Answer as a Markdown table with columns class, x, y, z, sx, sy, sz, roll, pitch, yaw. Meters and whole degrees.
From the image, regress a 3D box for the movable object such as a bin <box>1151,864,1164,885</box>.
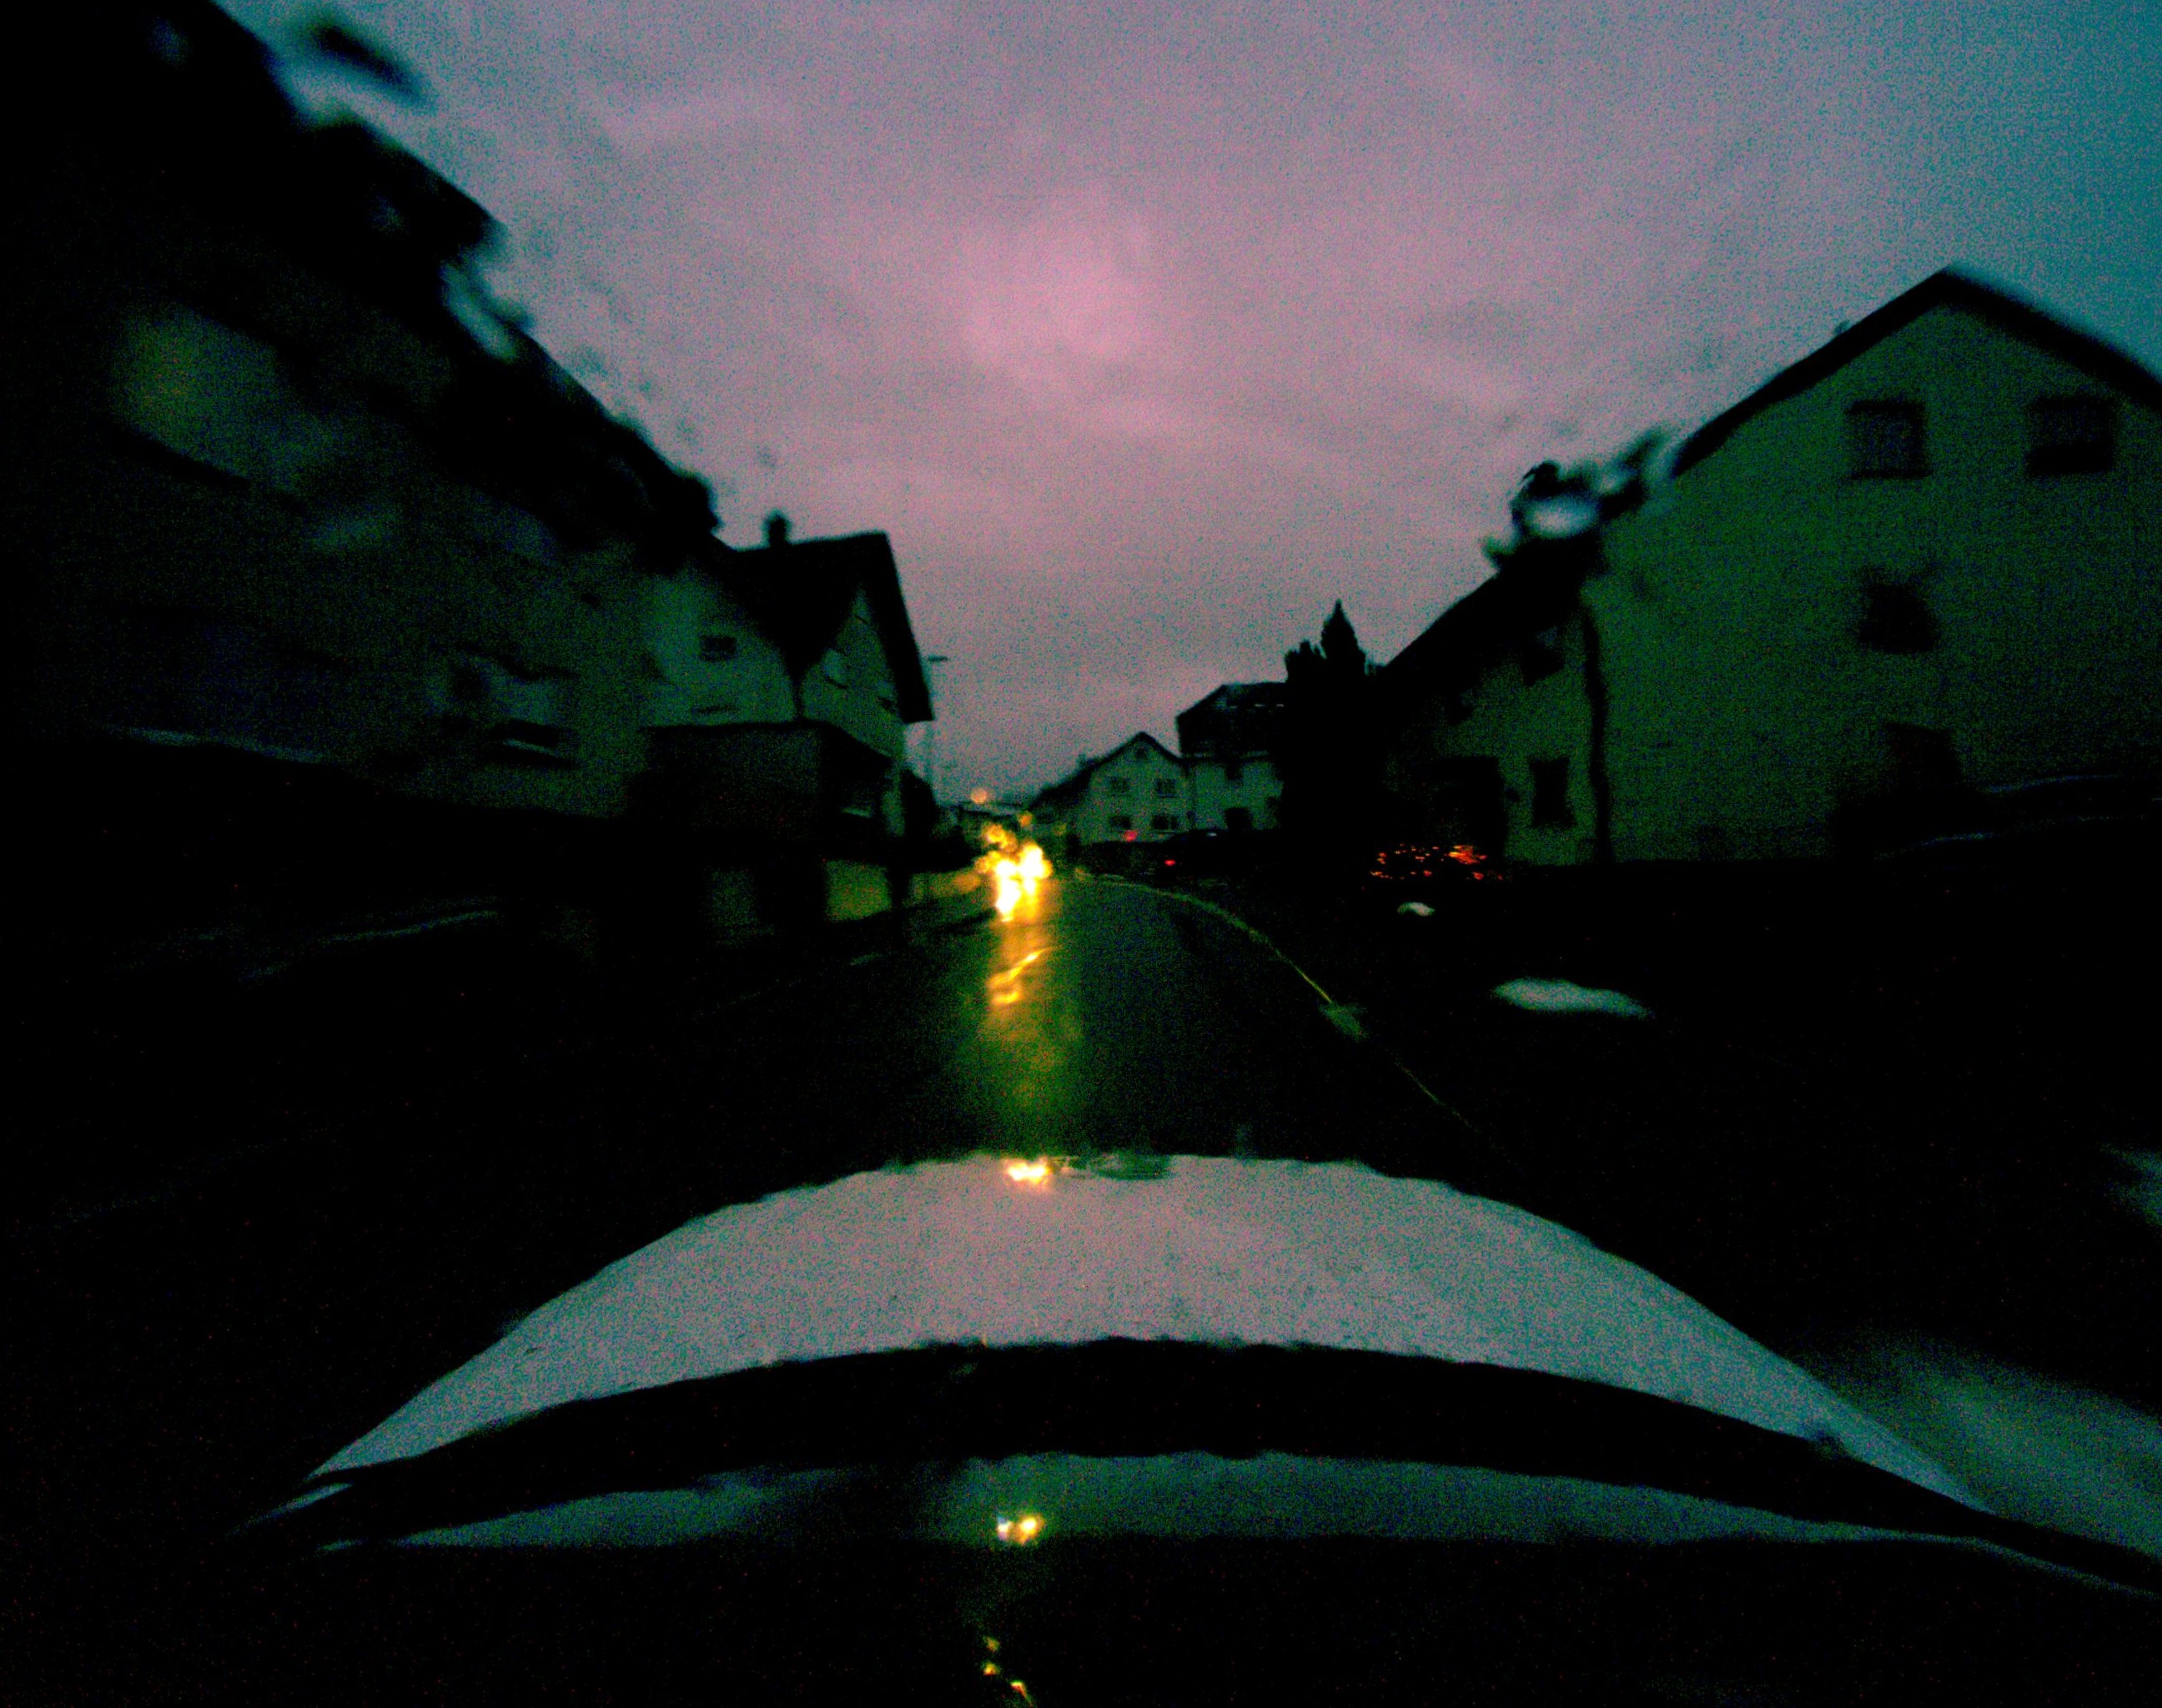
| class | x | y | z | sx | sy | sz | roll | pitch | yaw |
| --- | --- | --- | --- | --- | --- | --- | --- | --- | --- |
| movable object such as a bin | 3.529 | 0.935 | 37.750 | 0.535 | 0.938 | 0.689 | 0 | 0 | 1 |

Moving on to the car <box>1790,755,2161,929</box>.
| class | x | y | z | sx | sy | sz | roll | pitch | yaw |
| --- | --- | --- | --- | --- | --- | --- | --- | --- | --- |
| car | 11.670 | -0.224 | 10.043 | 4.249 | 1.648 | 2.058 | -6 | 0 | -8 |

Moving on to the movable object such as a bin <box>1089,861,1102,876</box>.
| class | x | y | z | sx | sy | sz | roll | pitch | yaw |
| --- | --- | --- | --- | --- | --- | --- | --- | --- | --- |
| movable object such as a bin | 0.898 | 0.888 | 49.799 | 0.637 | 0.917 | 0.683 | 0 | -1 | -11 |

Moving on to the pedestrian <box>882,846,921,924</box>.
| class | x | y | z | sx | sy | sz | roll | pitch | yaw |
| --- | --- | --- | --- | --- | --- | --- | --- | --- | --- |
| pedestrian | -4.095 | 0.706 | 18.608 | 0.595 | 1.733 | 0.813 | 1 | -2 | 5 |

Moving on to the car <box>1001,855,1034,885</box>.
| class | x | y | z | sx | sy | sz | roll | pitch | yaw |
| --- | --- | --- | --- | --- | --- | --- | --- | --- | --- |
| car | -4.558 | 1.108 | 59.131 | 2.104 | 2.027 | 4.979 | -1 | 0 | -1 |

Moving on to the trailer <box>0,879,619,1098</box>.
| class | x | y | z | sx | sy | sz | roll | pitch | yaw |
| --- | --- | --- | --- | --- | --- | --- | --- | --- | --- |
| trailer | -6.874 | 0.867 | 7.331 | 2.046 | 1.169 | 4.880 | 1 | -1 | 10 |
